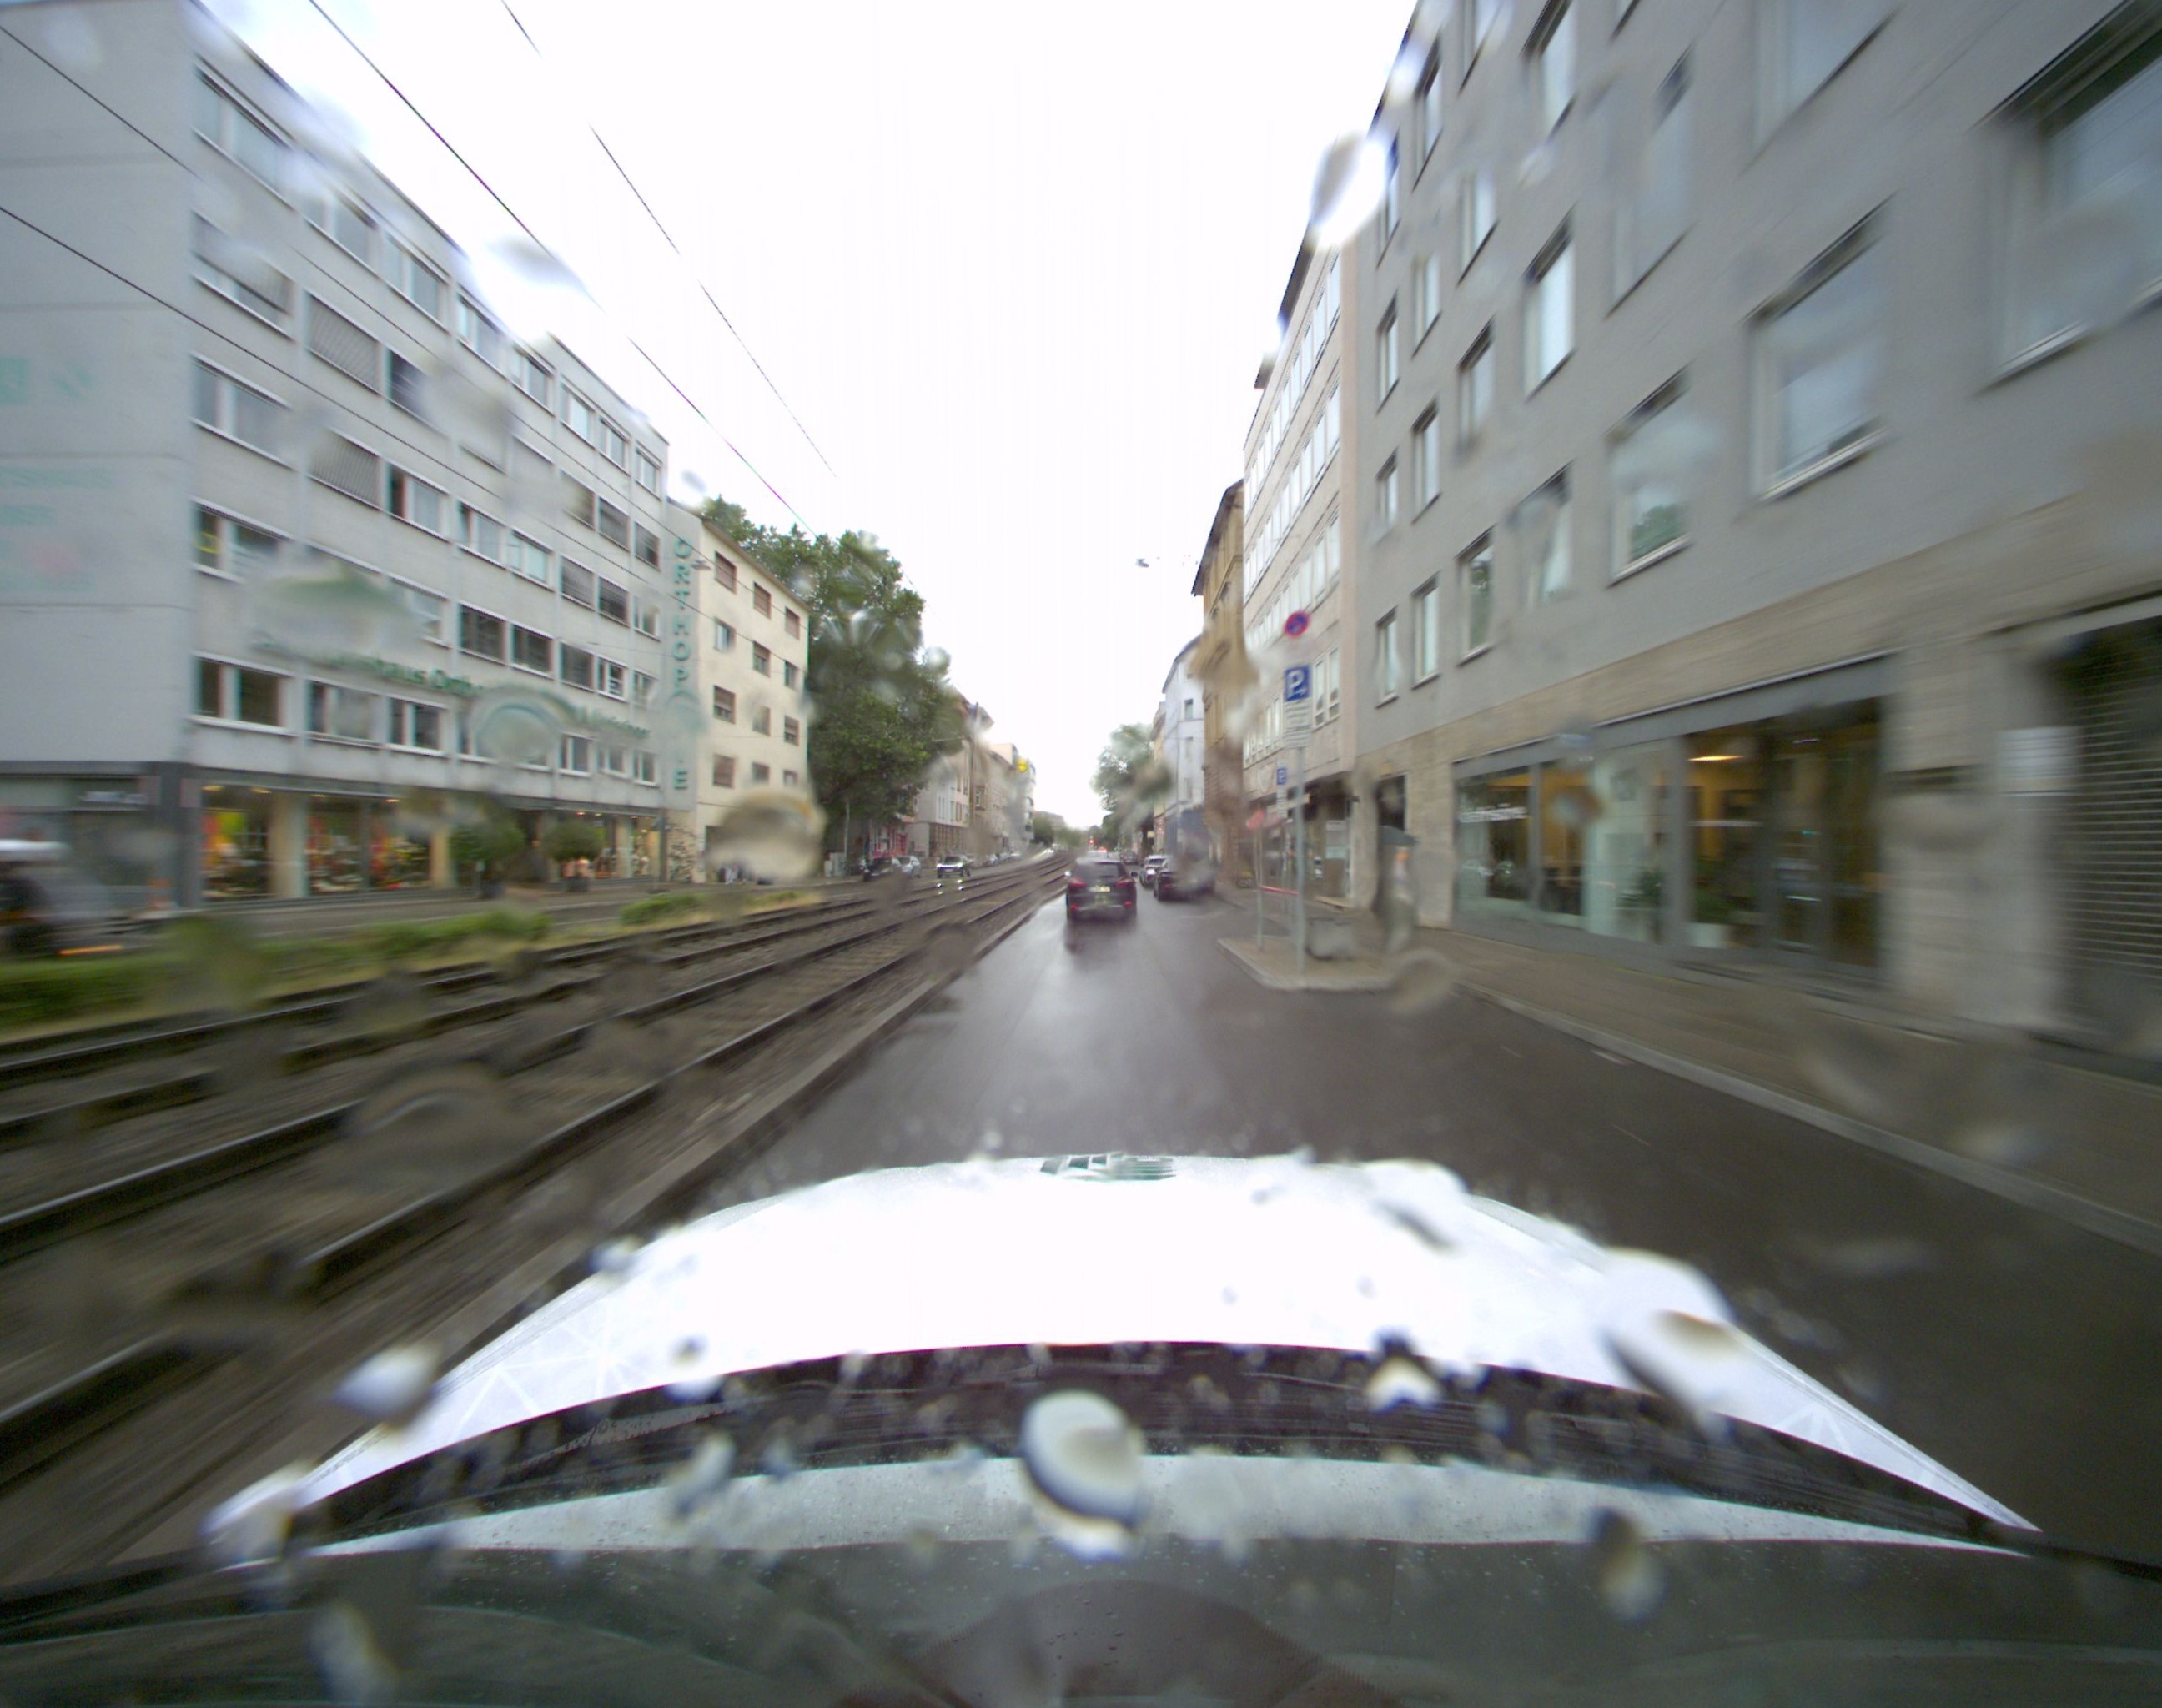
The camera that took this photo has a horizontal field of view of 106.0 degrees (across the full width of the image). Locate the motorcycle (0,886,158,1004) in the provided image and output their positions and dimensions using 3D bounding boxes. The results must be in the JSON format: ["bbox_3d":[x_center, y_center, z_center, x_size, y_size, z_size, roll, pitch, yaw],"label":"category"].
[{"bbox_3d":[-10.503,0.878,7.931,0.739,1.060,1.933,0,0,3],"label":"motorcycle"}]

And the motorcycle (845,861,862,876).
[{"bbox_3d":[-16.552,1.025,59.231,0.637,1.033,2.119,0,0,0],"label":"motorcycle"}]

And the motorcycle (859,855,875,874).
[{"bbox_3d":[-16.289,0.786,61.902,0.637,1.379,2.119,0,0,0],"label":"motorcycle"}]

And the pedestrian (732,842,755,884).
[{"bbox_3d":[-15.337,0.391,36.995,0.676,1.896,0.743,0,-1,1],"label":"pedestrian"}]

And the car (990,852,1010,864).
[{"bbox_3d":[-10.457,0.516,105.752,1.986,1.519,4.677,0,0,1],"label":"car"}]

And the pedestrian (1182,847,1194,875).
[{"bbox_3d":[7.844,0.488,59.732,0.733,2.013,0.821,0,0,0],"label":"pedestrian"}]

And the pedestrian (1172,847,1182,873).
[{"bbox_3d":[7.056,0.450,59.684,0.659,1.852,0.821,0,0,0],"label":"pedestrian"}]

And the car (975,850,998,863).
[{"bbox_3d":[-10.959,0.305,95.029,1.986,1.519,4.993,0,0,1],"label":"car"}]

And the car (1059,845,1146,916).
[{"bbox_3d":[0.571,0.637,20.822,1.986,1.594,4.273,-1,-1,2],"label":"car"}]

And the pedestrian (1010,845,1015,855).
[{"bbox_3d":[-12.504,-0.728,148.868,0.741,1.853,0.839,-1,-1,0],"label":"pedestrian"}]

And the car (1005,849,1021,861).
[{"bbox_3d":[-10.287,0.163,123.374,1.987,1.839,5.071,0,0,0],"label":"car"}]

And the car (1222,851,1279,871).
[{"bbox_3d":[12.697,0.534,61.212,3.970,1.430,1.789,-1,0,3],"label":"car"}]

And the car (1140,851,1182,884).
[{"bbox_3d":[3.853,0.613,39.727,1.740,1.523,4.356,0,1,1],"label":"car"}]

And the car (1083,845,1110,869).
[{"bbox_3d":[1.269,0.276,63.805,1.986,1.816,4.273,-1,-1,2],"label":"car"}]

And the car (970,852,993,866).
[{"bbox_3d":[-11.009,0.503,90.227,1.986,1.519,4.210,0,0,1],"label":"car"}]

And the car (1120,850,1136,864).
[{"bbox_3d":[5.528,0.320,96.284,1.637,1.516,4.039,0,1,1],"label":"car"}]

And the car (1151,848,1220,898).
[{"bbox_3d":[3.557,0.638,28.552,1.986,1.594,4.574,-1,-1,2],"label":"car"}]

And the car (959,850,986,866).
[{"bbox_3d":[-11.156,0.390,84.009,1.986,1.519,4.436,0,0,1],"label":"car"}]

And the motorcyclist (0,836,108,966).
[{"bbox_3d":[-10.502,0.443,7.975,0.738,1.217,0.971,0,-1,3],"label":"motorcyclist"}]

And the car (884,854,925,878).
[{"bbox_3d":[-12.067,0.764,55.920,1.715,1.570,4.221,0,0,1],"label":"car"}]

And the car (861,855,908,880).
[{"bbox_3d":[-12.276,0.794,51.117,1.737,1.469,4.221,-1,0,1],"label":"car"}]

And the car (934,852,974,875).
[{"bbox_3d":[-8.769,0.653,56.727,1.986,1.519,4.445,0,0,1],"label":"car"}]

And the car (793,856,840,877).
[{"bbox_3d":[-19.215,0.885,59.320,1.987,1.454,4.000,-1,0,1],"label":"car"}]

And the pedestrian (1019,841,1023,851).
[{"bbox_3d":[-11.403,-1.548,155.065,0.741,1.853,0.839,-1,-1,0],"label":"pedestrian"}]

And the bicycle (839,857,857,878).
[{"bbox_3d":[-13.786,0.779,48.305,0.590,1.226,2.399,1,-1,-6],"label":"bicycle"}]

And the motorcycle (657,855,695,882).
[{"bbox_3d":[-17.979,0.657,36.172,1.472,1.180,0.386,0,0,0],"label":"motorcycle"}]

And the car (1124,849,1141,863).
[{"bbox_3d":[5.803,0.249,91.671,1.733,1.489,4.001,0,1,1],"label":"car"}]

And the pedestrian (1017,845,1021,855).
[{"bbox_3d":[-11.329,-0.764,148.909,0.741,1.853,0.839,-1,-1,0],"label":"pedestrian"}]

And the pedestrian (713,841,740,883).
[{"bbox_3d":[-16.117,0.350,37.053,0.724,1.896,0.983,0,-1,1],"label":"pedestrian"}]
